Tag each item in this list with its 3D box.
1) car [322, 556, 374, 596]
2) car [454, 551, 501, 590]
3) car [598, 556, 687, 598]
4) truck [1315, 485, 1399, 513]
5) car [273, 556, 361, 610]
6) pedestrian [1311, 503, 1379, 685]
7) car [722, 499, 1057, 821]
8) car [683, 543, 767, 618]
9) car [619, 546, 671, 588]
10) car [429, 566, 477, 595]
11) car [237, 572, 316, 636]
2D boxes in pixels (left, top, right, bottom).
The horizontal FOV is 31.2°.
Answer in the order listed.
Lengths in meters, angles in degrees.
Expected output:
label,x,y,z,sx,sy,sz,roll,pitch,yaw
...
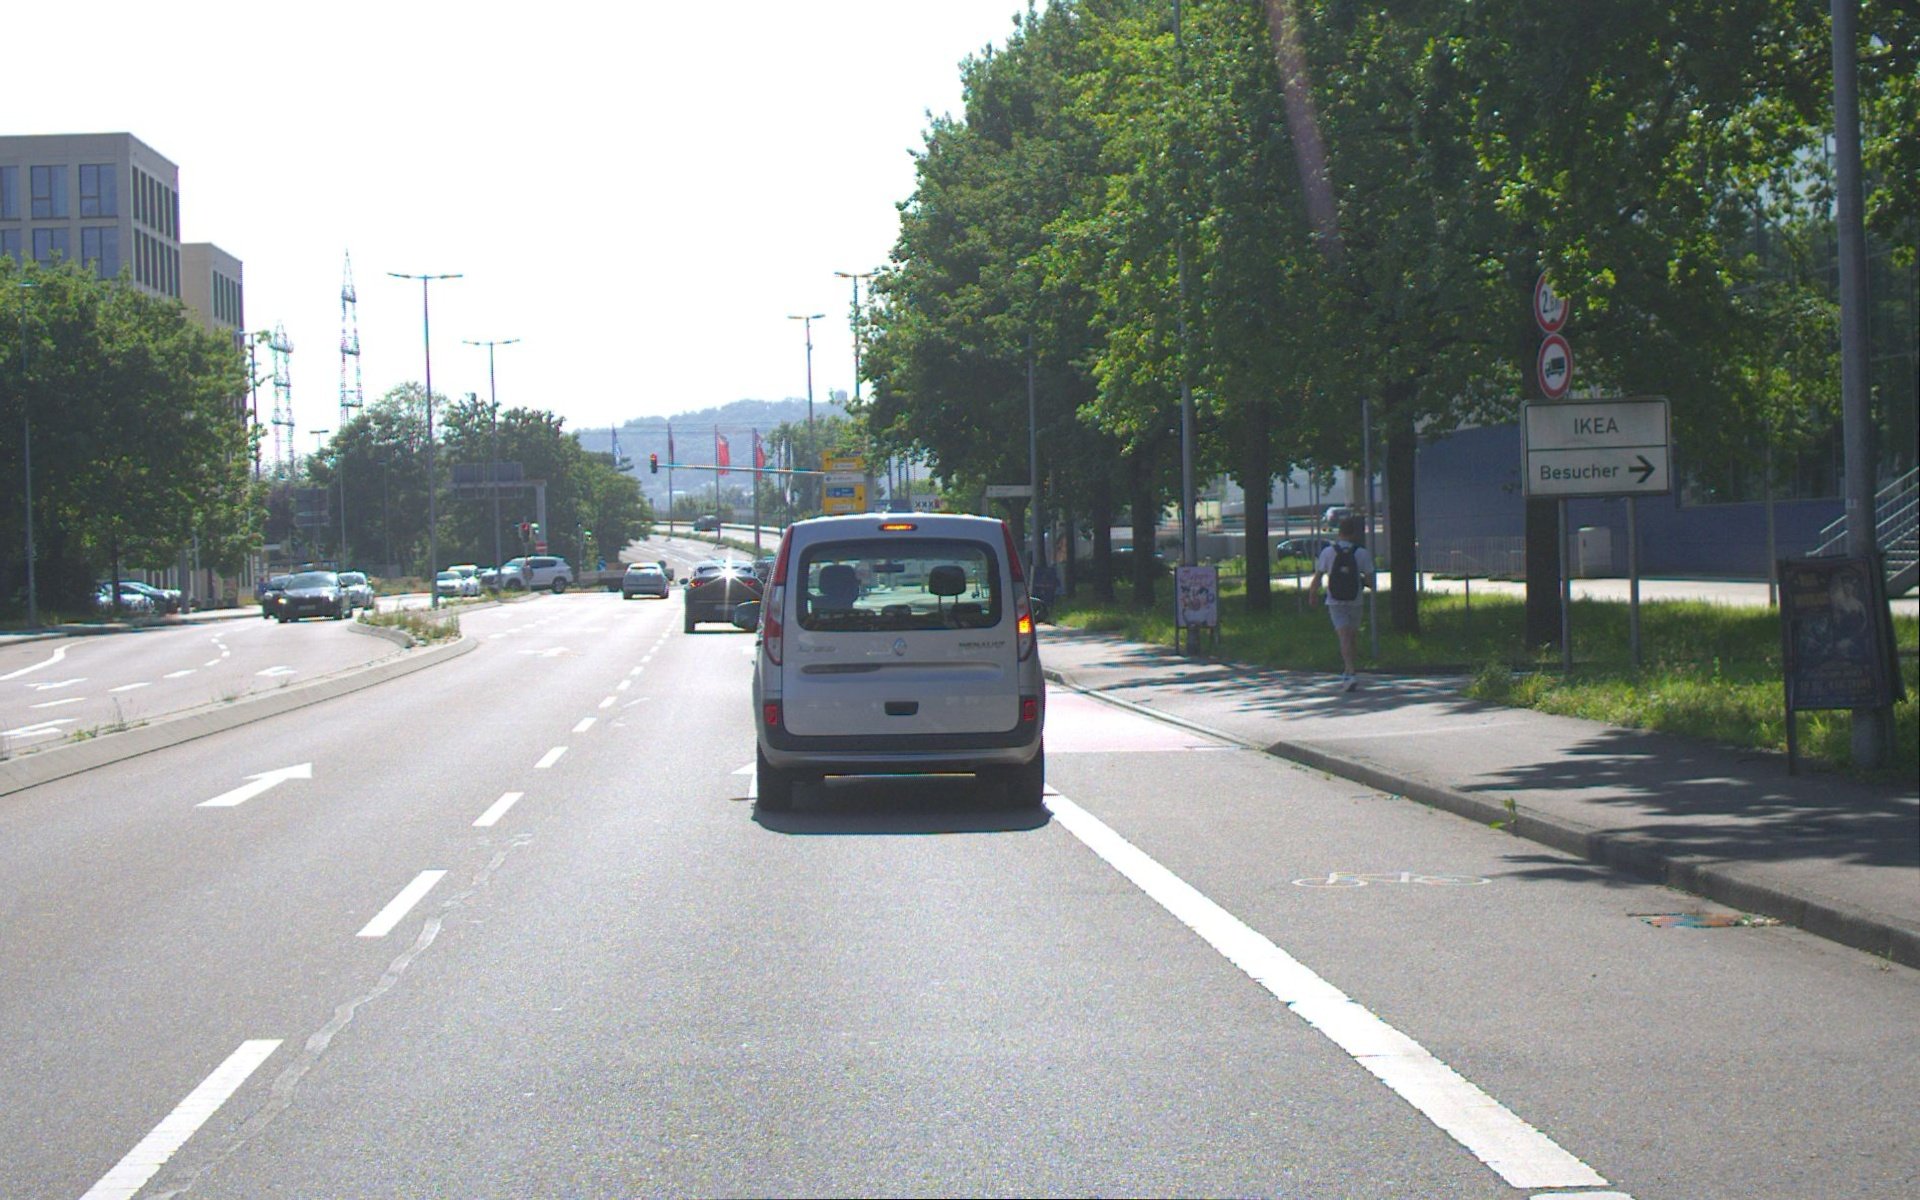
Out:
label,x,y,z,sx,sy,sz,roll,pitch,yaw
car,-24.012,-0.940,134.918,1.653,1.459,3.551,-3,1,-6
car,-23.357,-1.439,166.508,1.993,1.826,4.938,-2,1,-5
car,-15.632,-1.146,169.190,3.986,2.006,2.001,0,2,-17
truck,29.190,-7.426,253.157,5.909,2.006,2.000,0,2,-1
car,-19.134,-0.524,102.516,1.841,1.458,5.001,-4,1,-3
pedestrian,3.950,-0.067,35.296,0.535,1.835,0.728,-2,1,-3
car,-0.531,0.321,22.218,1.905,1.822,4.181,-2,1,-3
car,-5.444,-0.486,80.189,1.807,1.634,4.459,-2,1,-3
car,-13.303,-1.401,145.393,1.993,1.678,4.001,-2,1,-3
car,-27.329,-1.082,185.405,1.892,1.459,4.000,-2,1,1
car,-23.173,0.126,116.647,1.993,2.006,4.001,0,2,-2
